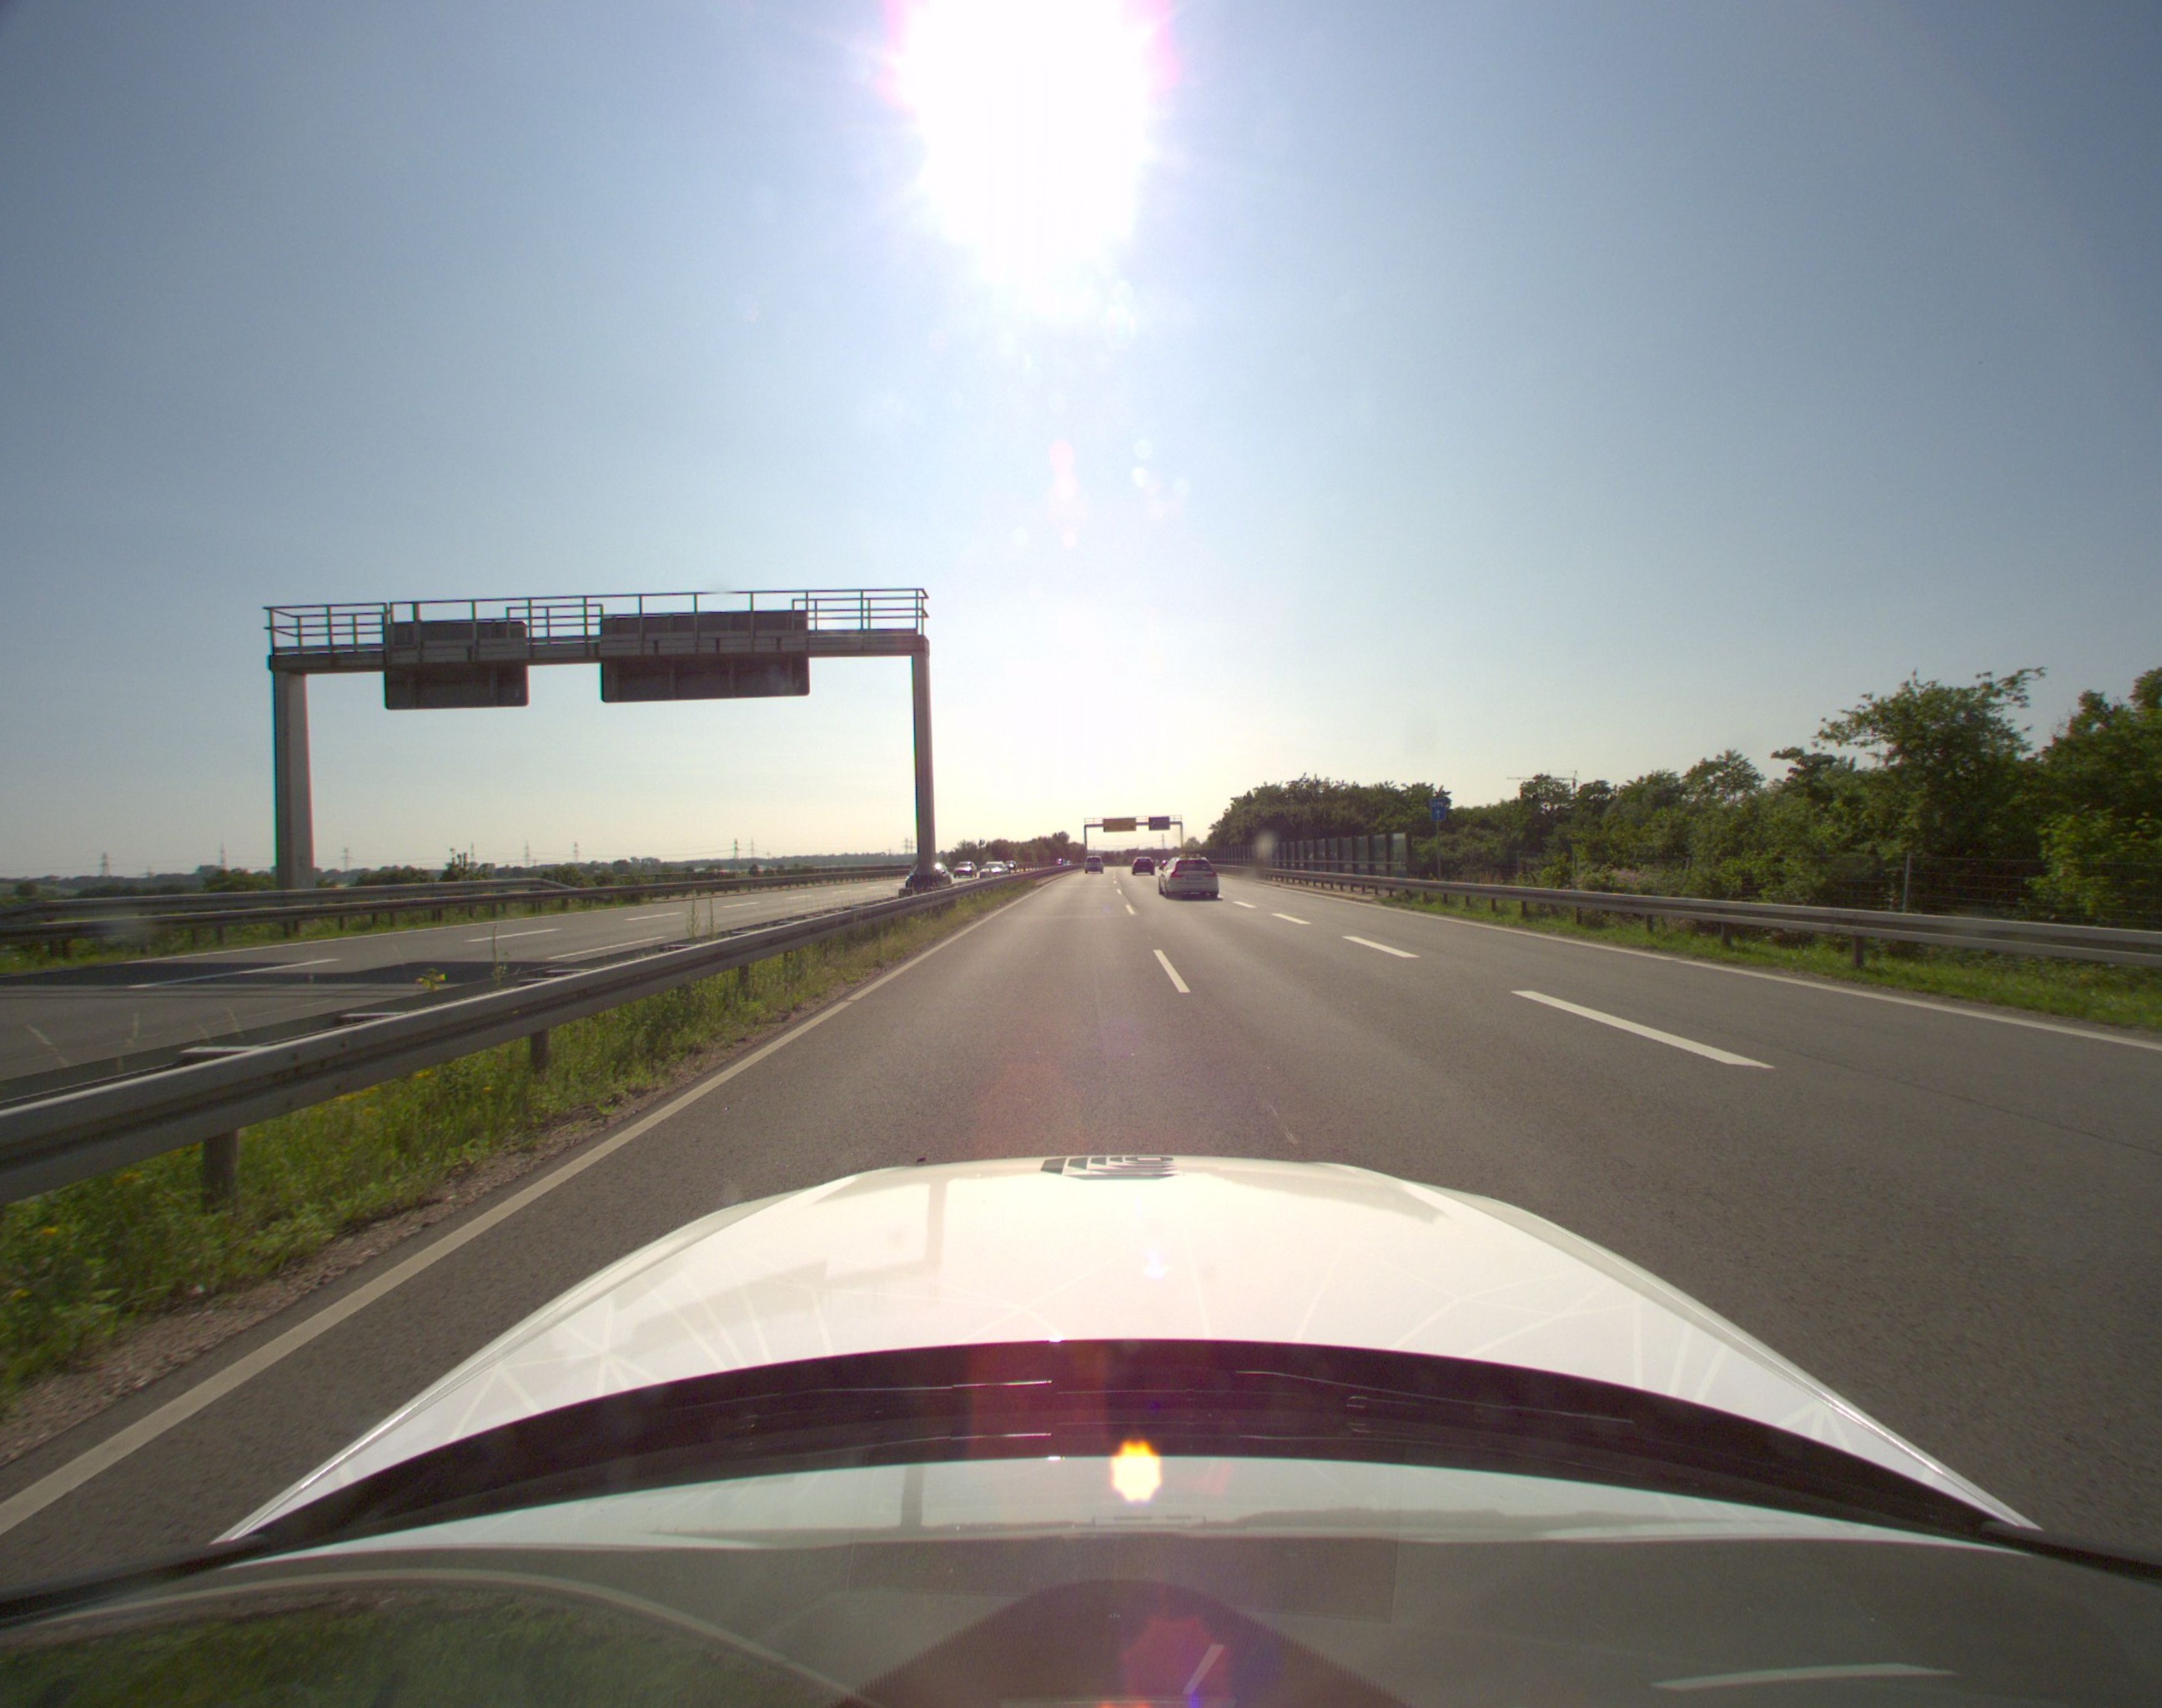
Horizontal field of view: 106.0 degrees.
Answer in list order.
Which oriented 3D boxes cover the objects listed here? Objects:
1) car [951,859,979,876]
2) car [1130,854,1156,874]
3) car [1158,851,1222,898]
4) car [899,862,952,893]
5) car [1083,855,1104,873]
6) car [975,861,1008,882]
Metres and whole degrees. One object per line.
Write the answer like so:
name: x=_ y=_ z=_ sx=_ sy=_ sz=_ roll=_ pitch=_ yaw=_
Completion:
car: x=-10.431 y=1.233 z=73.715 sx=1.818 sy=1.428 sz=4.531 roll=-1 pitch=0 yaw=0
car: x=4.959 y=0.840 z=65.550 sx=1.787 sy=1.543 sz=3.672 roll=-1 pitch=-1 yaw=1
car: x=3.927 y=0.698 z=30.024 sx=1.951 sy=1.601 sz=4.109 roll=0 pitch=0 yaw=2
car: x=-7.868 y=1.178 z=41.582 sx=1.788 sy=1.473 sz=4.003 roll=0 pitch=0 yaw=2
car: x=1.141 y=0.927 z=74.119 sx=1.786 sy=1.503 sz=4.045 roll=-1 pitch=-1 yaw=2
car: x=-6.589 y=1.263 z=60.158 sx=1.867 sy=1.438 sz=4.502 roll=0 pitch=0 yaw=1
